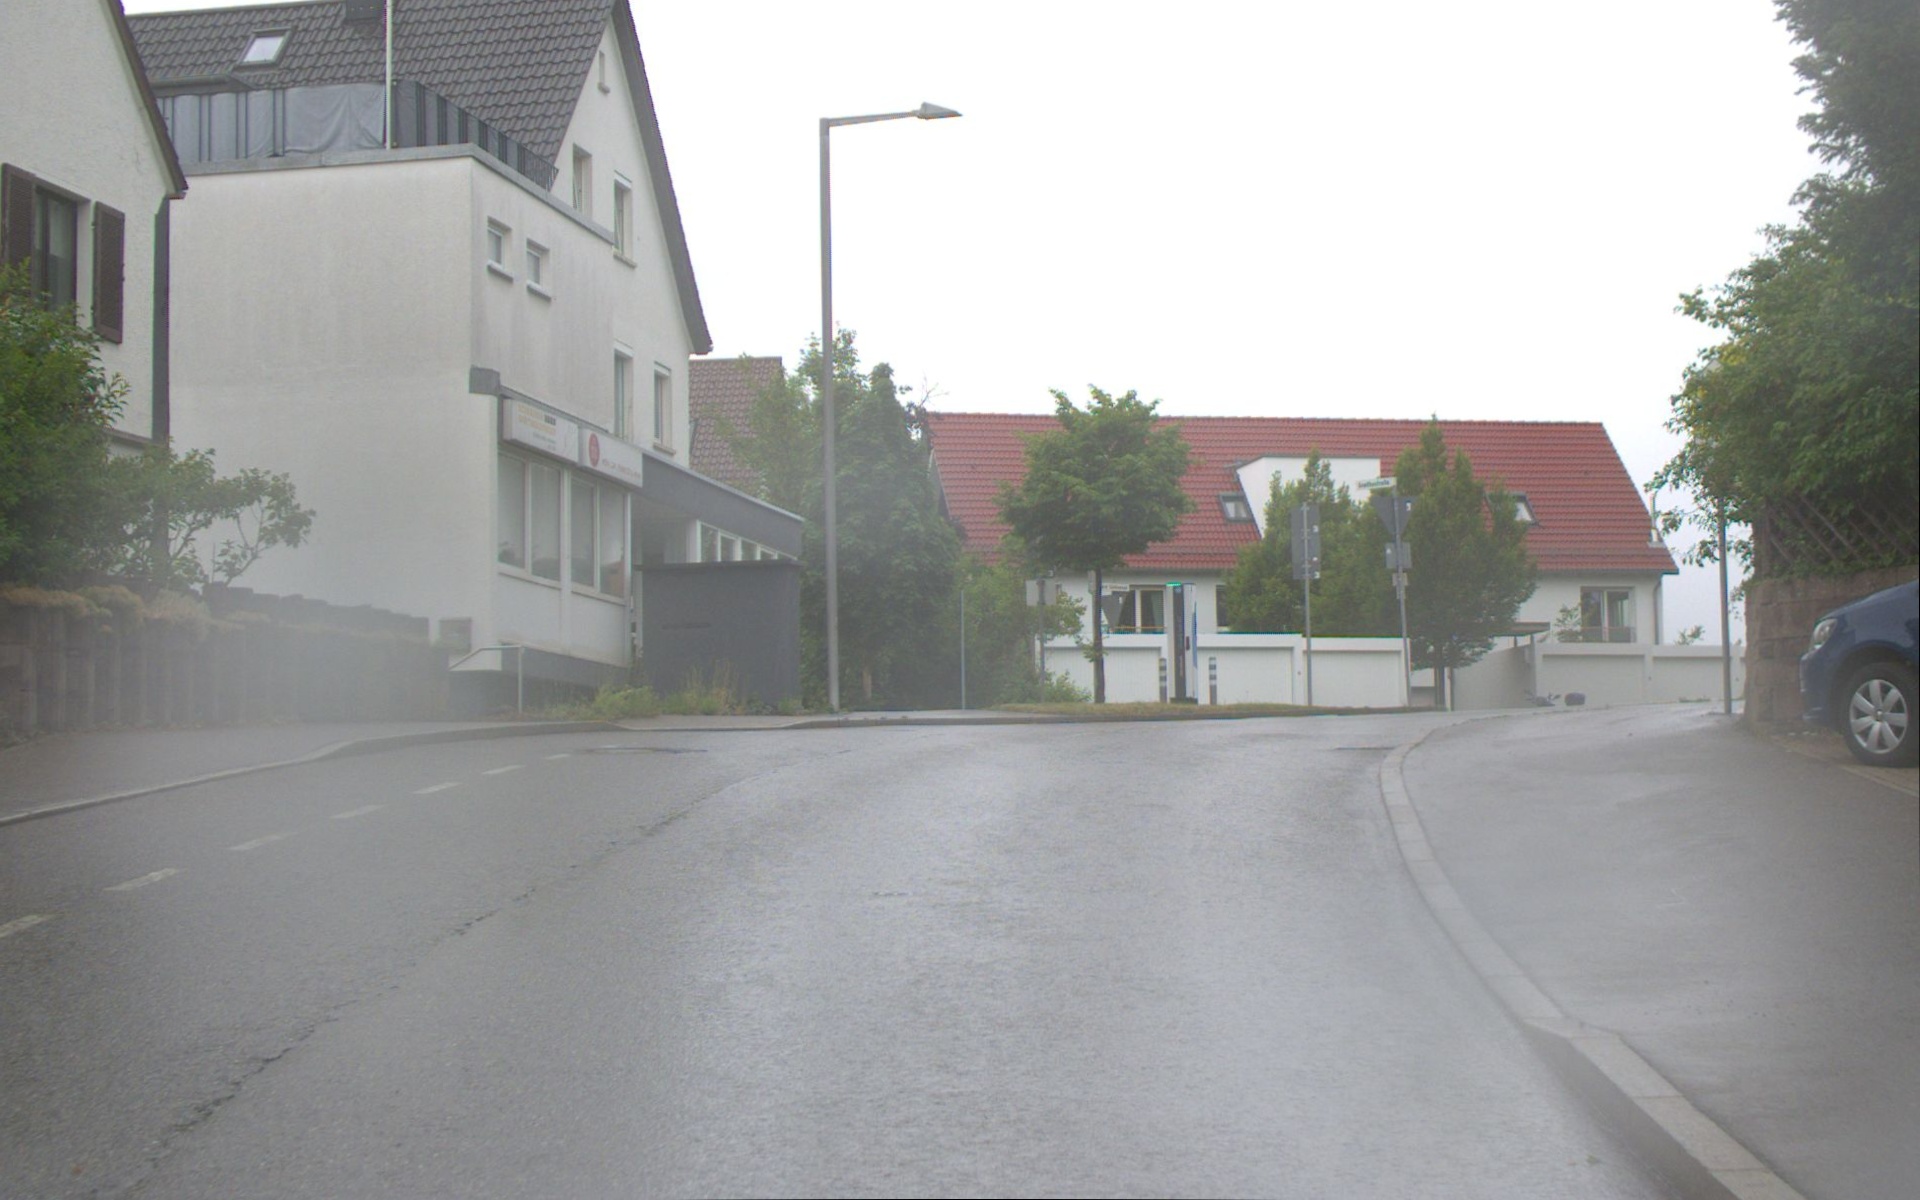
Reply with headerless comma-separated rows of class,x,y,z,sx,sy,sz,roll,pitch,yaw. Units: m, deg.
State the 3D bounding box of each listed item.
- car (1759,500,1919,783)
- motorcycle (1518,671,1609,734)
car,6.992,0.144,19.718,1.851,1.601,4.338,-6,2,-40
motorcycle,13.484,2.286,76.802,2.039,1.318,0.709,0,-5,-35
